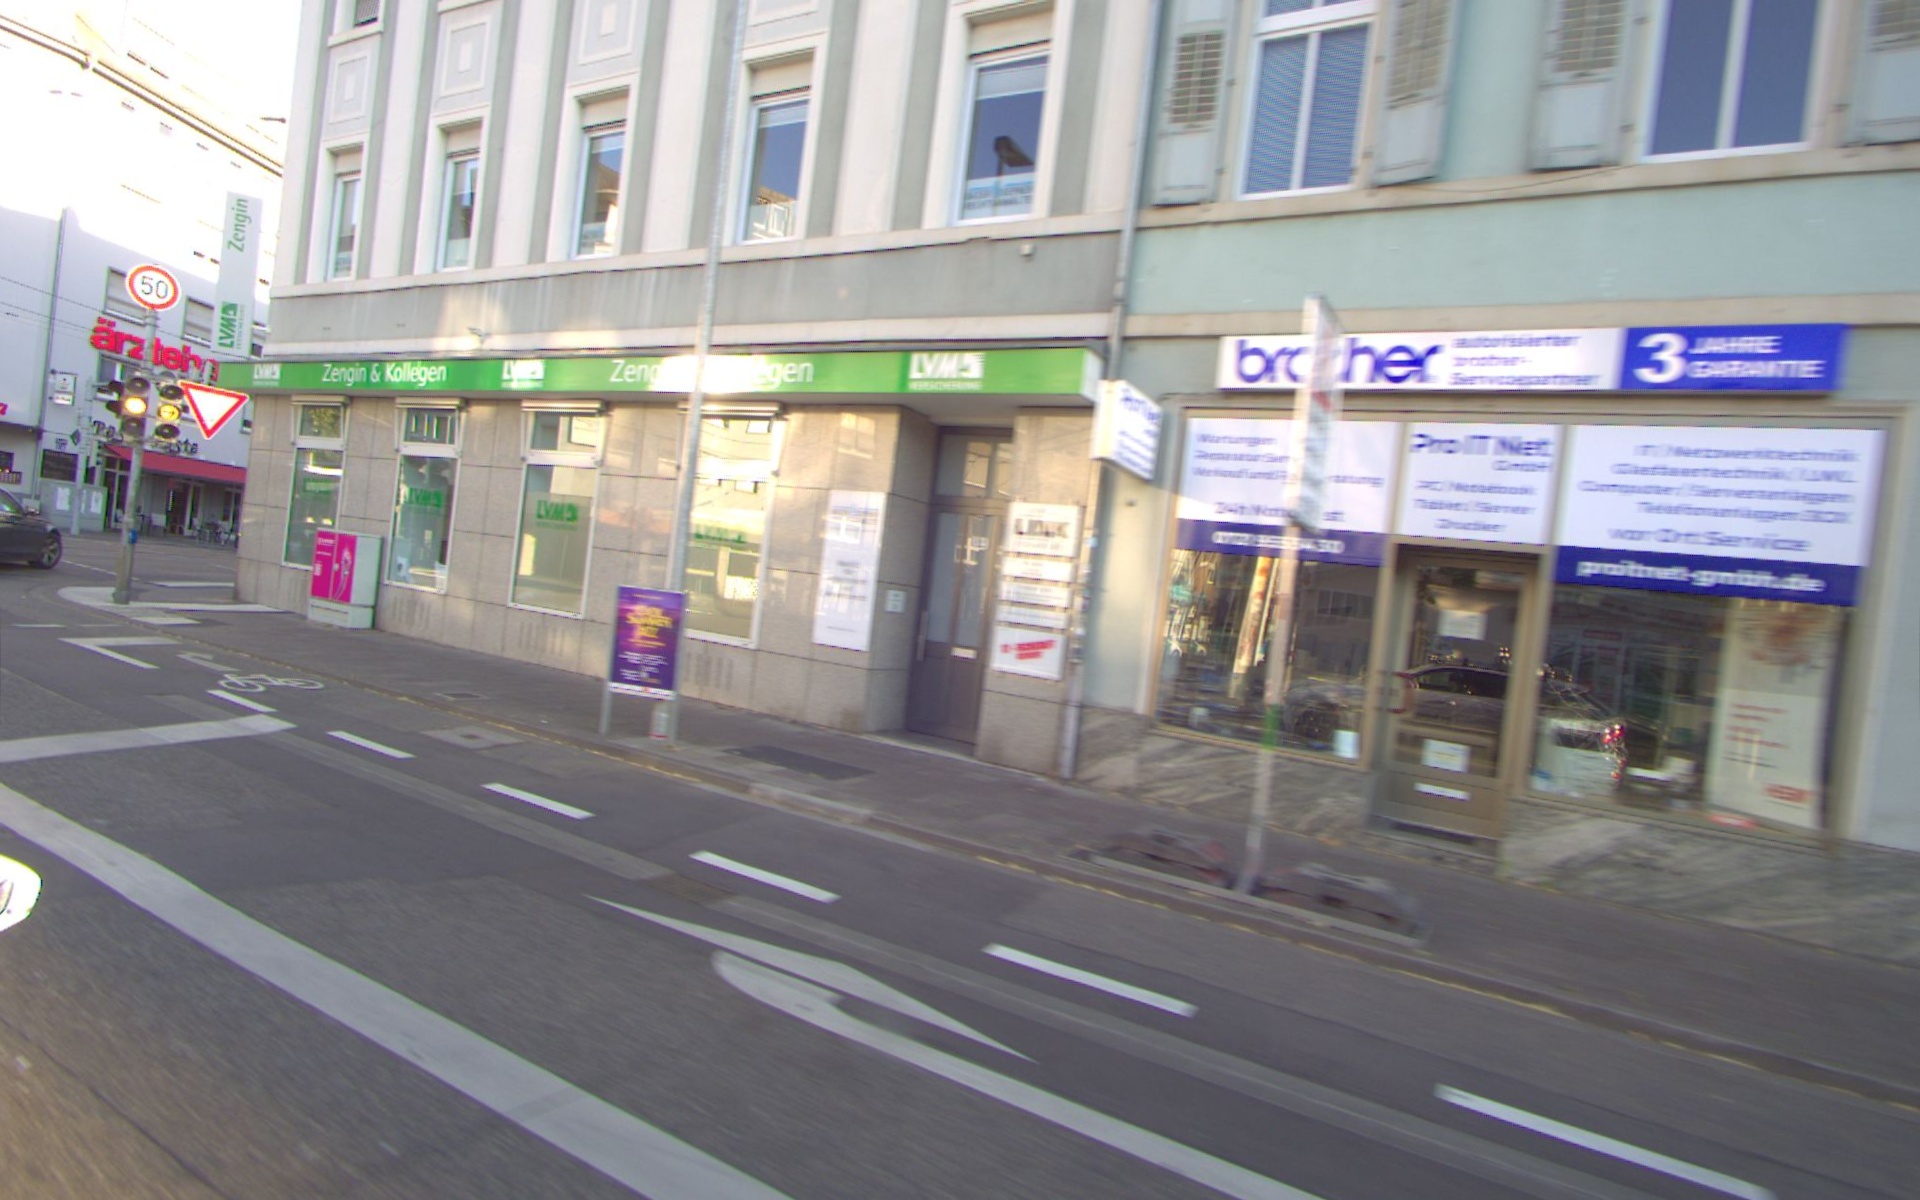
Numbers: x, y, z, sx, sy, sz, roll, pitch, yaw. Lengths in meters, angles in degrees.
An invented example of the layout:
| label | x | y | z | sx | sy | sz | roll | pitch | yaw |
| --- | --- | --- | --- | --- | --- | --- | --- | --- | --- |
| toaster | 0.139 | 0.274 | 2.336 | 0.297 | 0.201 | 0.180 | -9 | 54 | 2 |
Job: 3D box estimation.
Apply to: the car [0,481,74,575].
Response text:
| label | x | y | z | sx | sy | sz | roll | pitch | yaw |
| --- | --- | --- | --- | --- | --- | --- | --- | --- | --- |
| car | -15.980 | -1.255 | 15.714 | 1.977 | 1.437 | 4.479 | 8 | 0 | -27 |
